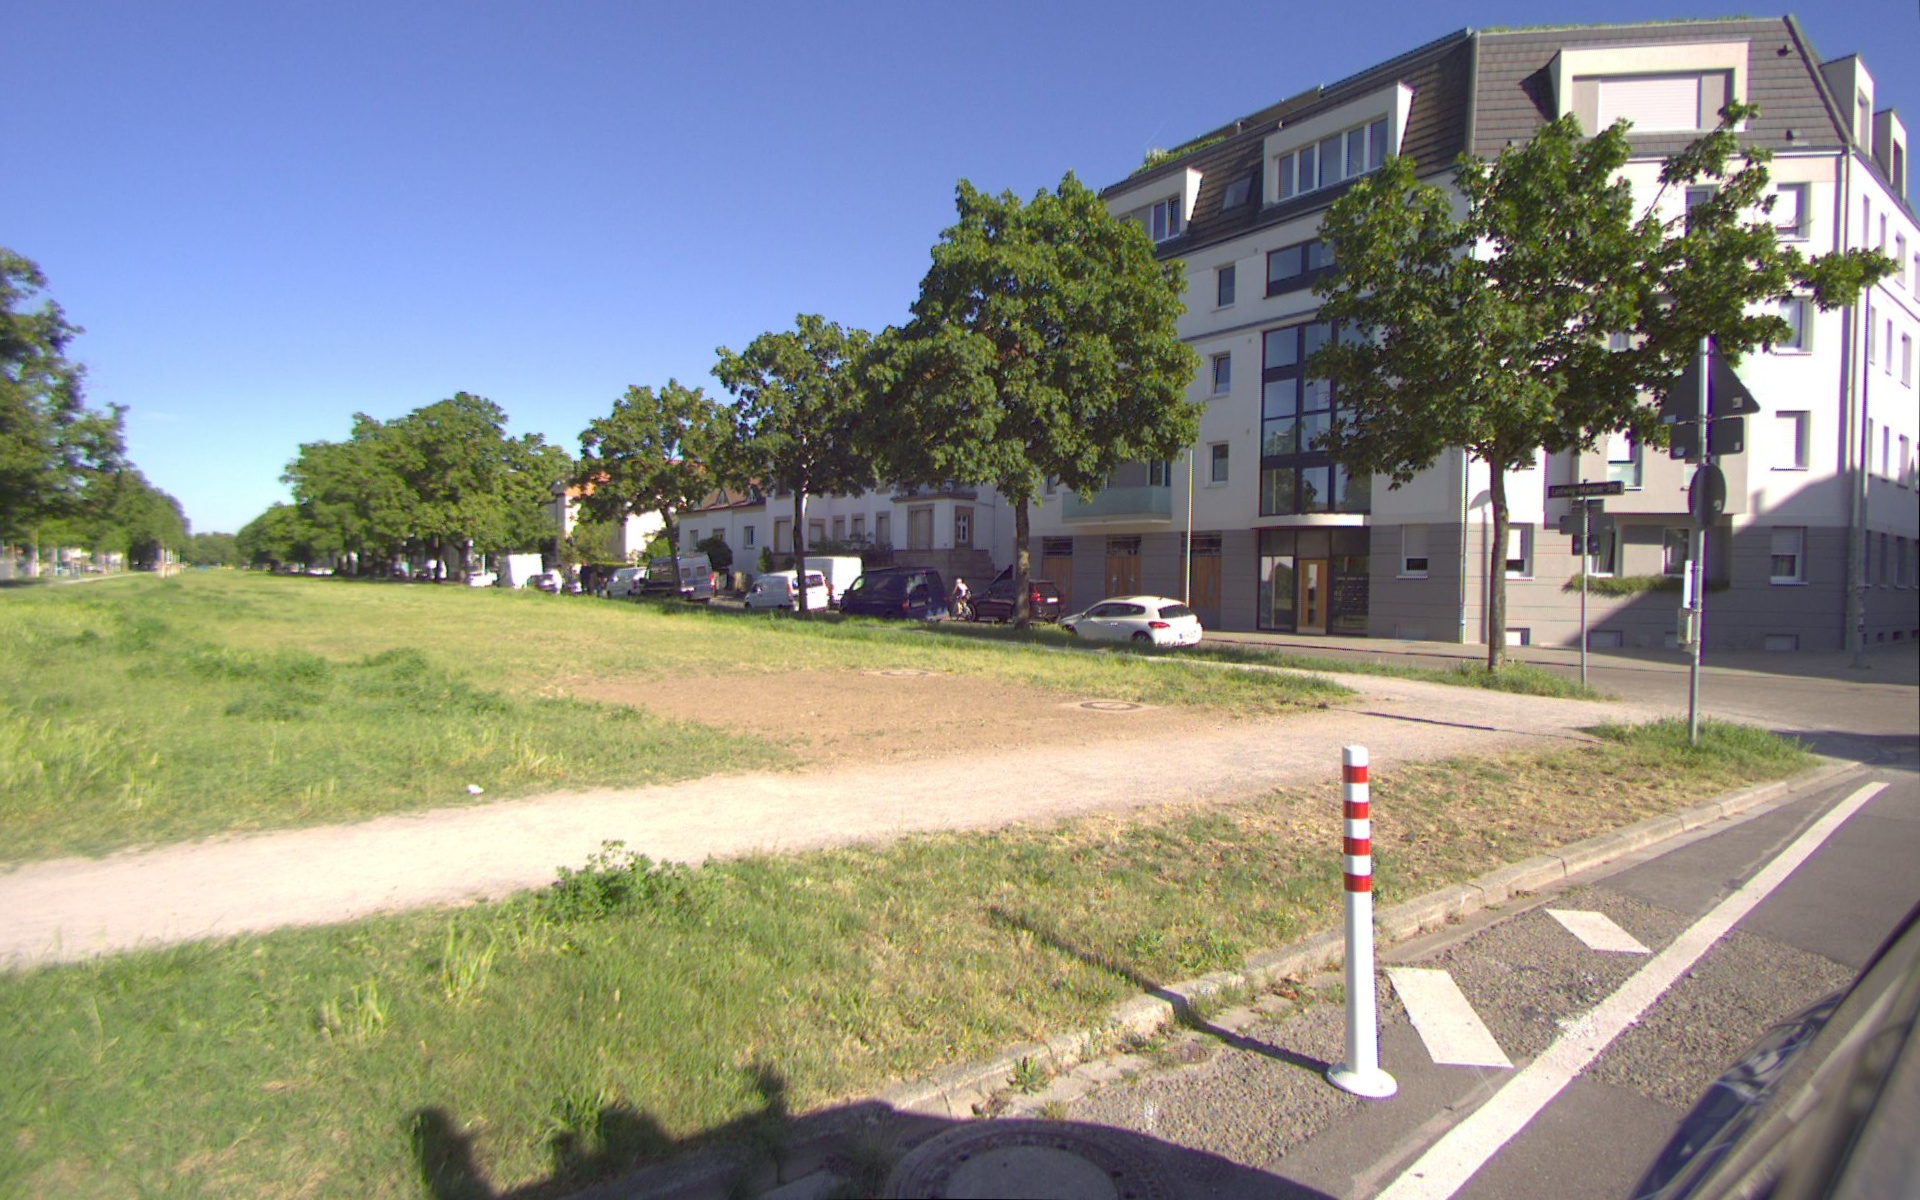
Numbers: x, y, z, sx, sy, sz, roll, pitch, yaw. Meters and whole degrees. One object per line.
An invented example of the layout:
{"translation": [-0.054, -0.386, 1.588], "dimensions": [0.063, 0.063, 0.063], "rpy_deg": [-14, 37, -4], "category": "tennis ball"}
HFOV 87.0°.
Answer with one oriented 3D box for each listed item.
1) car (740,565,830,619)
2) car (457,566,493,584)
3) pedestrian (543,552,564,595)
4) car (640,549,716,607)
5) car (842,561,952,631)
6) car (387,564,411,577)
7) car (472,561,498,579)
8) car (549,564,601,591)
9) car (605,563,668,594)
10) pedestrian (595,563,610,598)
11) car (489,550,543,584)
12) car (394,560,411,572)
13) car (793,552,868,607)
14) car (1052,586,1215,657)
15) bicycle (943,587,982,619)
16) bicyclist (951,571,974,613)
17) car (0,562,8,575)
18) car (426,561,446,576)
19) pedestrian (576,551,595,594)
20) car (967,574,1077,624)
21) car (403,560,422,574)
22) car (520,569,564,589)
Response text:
{"translation": [-7.118, -0.385, 40.803], "dimensions": [1.842, 1.906, 4.425], "rpy_deg": [-5, 5, -34], "category": "car"}
{"translation": [-42.379, -2.204, 88.400], "dimensions": [2.042, 1.484, 4.727], "rpy_deg": [0, 2, -36], "category": "car"}
{"translation": [-18.307, -1.206, 45.594], "dimensions": [0.711, 1.900, 0.629], "rpy_deg": [1, 1, -38], "category": "pedestrian"}
{"translation": [-13.981, -1.133, 50.032], "dimensions": [2.153, 2.615, 4.288], "rpy_deg": [-5, 4, -36], "category": "car"}
{"translation": [-2.182, -0.206, 34.125], "dimensions": [1.752, 2.108, 3.994], "rpy_deg": [-5, 5, -36], "category": "car"}
{"translation": [-69.256, -3.665, 124.930], "dimensions": [2.042, 1.484, 4.728], "rpy_deg": [0, 2, -36], "category": "car"}
{"translation": [-50.737, -3.253, 108.012], "dimensions": [1.831, 1.868, 3.994], "rpy_deg": [0, 2, -36], "category": "car"}
{"translation": [-24.601, -1.457, 64.597], "dimensions": [2.046, 1.618, 4.288], "rpy_deg": [0, 2, -36], "category": "car"}
{"translation": [-17.856, -1.213, 55.743], "dimensions": [2.046, 1.618, 4.288], "rpy_deg": [0, 2, -36], "category": "car"}
{"translation": [-15.950, -0.880, 45.150], "dimensions": [0.487, 1.524, 0.535], "rpy_deg": [1, 1, -37], "category": "pedestrian"}
{"translation": [-33.276, -2.469, 75.824], "dimensions": [2.503, 2.363, 5.920], "rpy_deg": [0, 2, -36], "category": "car"}
{"translation": [-87.490, -5.337, 158.704], "dimensions": [1.831, 1.868, 3.994], "rpy_deg": [0, 2, -36], "category": "car"}
{"translation": [-6.419, -1.031, 49.787], "dimensions": [1.985, 2.580, 3.994], "rpy_deg": [-1, 2, -36], "category": "car"}
{"translation": [4.329, 0.471, 25.712], "dimensions": [1.709, 1.450, 3.993], "rpy_deg": [-5, 5, -37], "category": "car"}
{"translation": [0.095, 0.092, 36.733], "dimensions": [0.497, 1.102, 1.709], "rpy_deg": [0, 1, -35], "category": "bicycle"}
{"translation": [0.080, -0.298, 36.756], "dimensions": [0.488, 1.482, 0.687], "rpy_deg": [0, 1, -36], "category": "bicyclist"}
{"translation": [-101.055, -3.344, 105.859], "dimensions": [1.690, 1.358, 3.808], "rpy_deg": [0, 2, -37], "category": "car"}
{"translation": [-70.644, -4.239, 136.325], "dimensions": [1.831, 1.868, 3.994], "rpy_deg": [0, 2, -36], "category": "car"}
{"translation": [-16.734, -1.208, 45.202], "dimensions": [0.632, 1.900, 0.629], "rpy_deg": [0, 1, -38], "category": "pedestrian"}
{"translation": [2.263, -0.105, 38.100], "dimensions": [1.861, 1.703, 4.289], "rpy_deg": [-1, 3, -36], "category": "car"}
{"translation": [-79.108, -4.789, 146.223], "dimensions": [1.831, 1.868, 3.994], "rpy_deg": [0, 2, -36], "category": "car"}
{"translation": [-29.248, -1.475, 70.727], "dimensions": [1.898, 1.361, 4.110], "rpy_deg": [0, 2, -36], "category": "car"}
